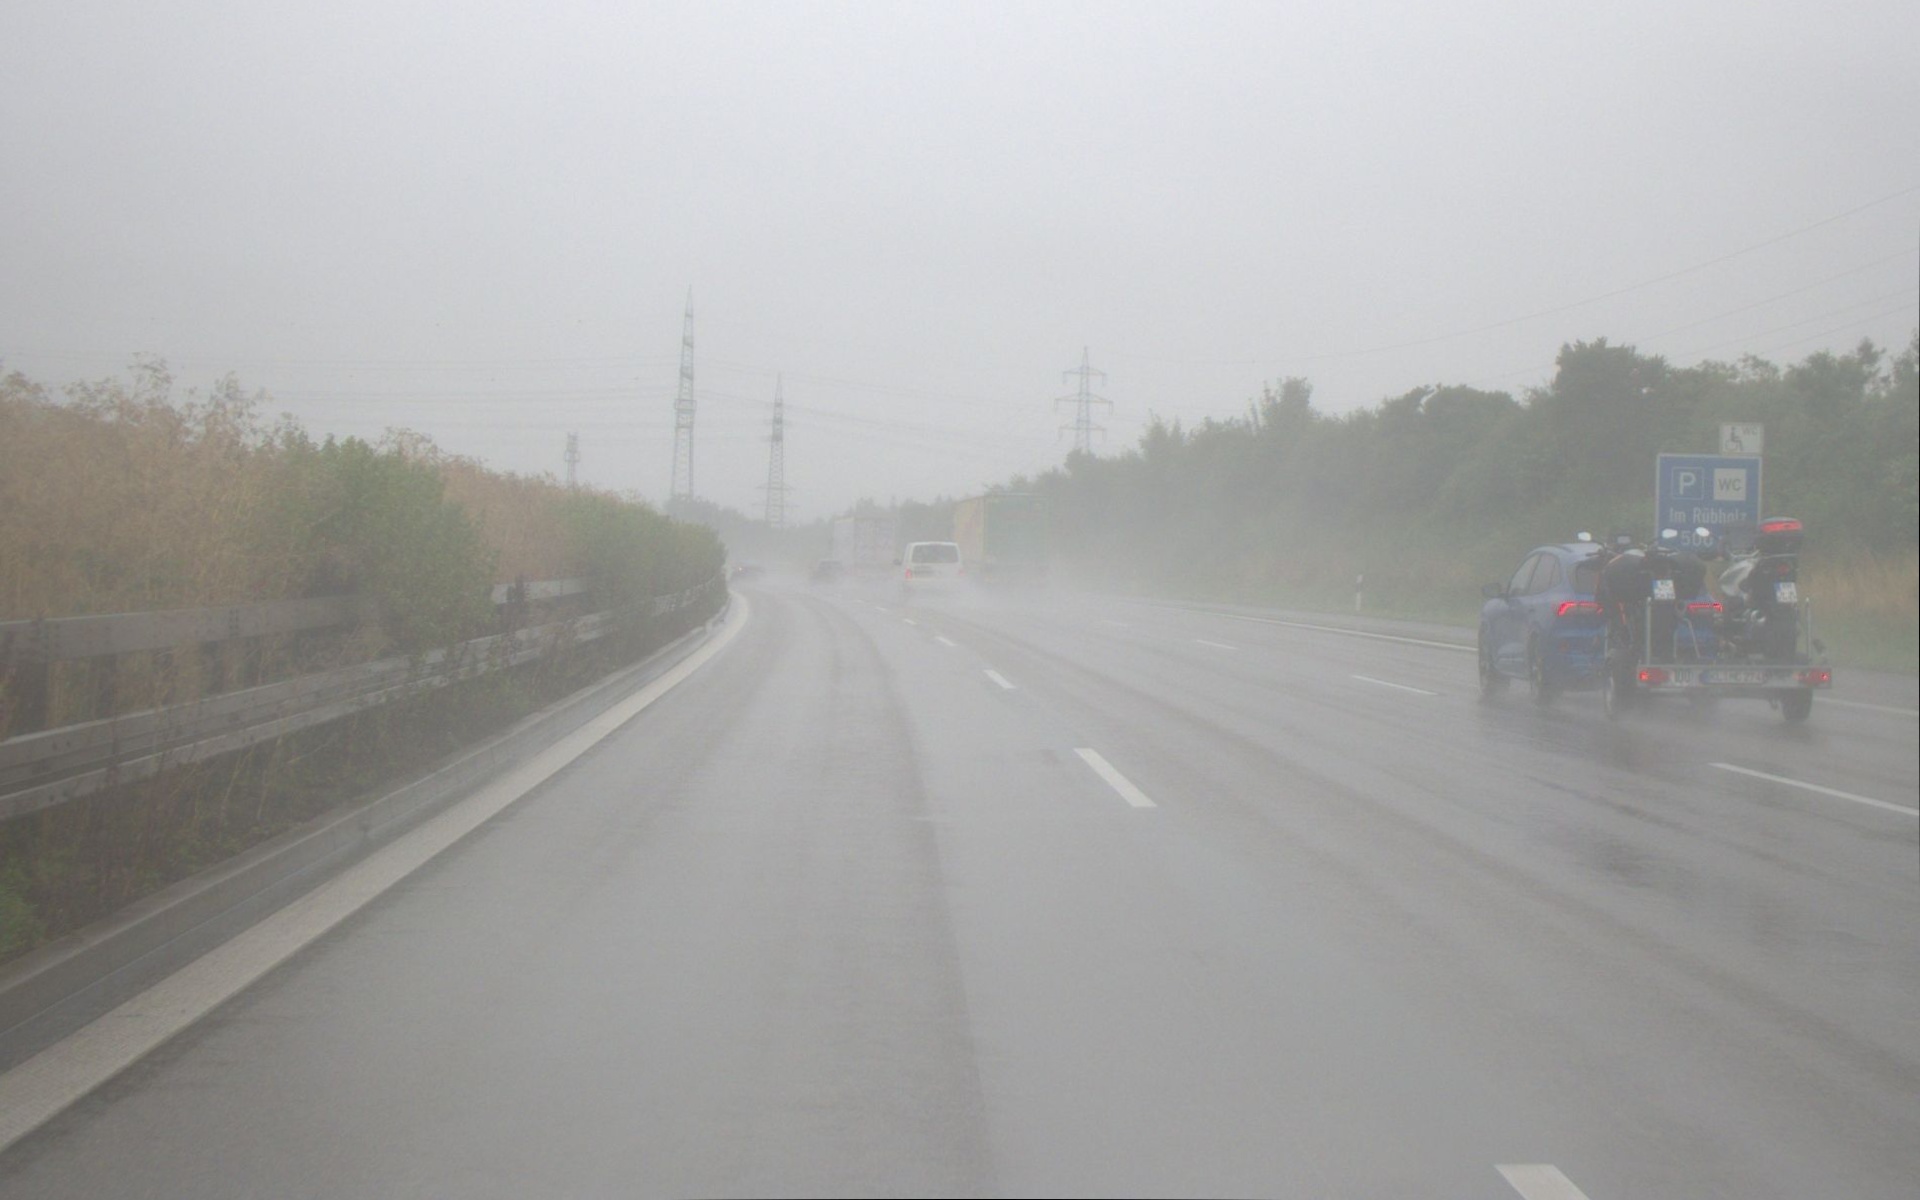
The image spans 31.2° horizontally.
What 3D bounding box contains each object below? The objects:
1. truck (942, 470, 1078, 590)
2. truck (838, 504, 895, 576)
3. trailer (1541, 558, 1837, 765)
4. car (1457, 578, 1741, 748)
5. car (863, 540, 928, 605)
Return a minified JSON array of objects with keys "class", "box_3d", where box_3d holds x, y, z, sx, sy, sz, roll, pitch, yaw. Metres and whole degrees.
[{"class":"truck","box_3d":[1.870,-2.730,140.473,4.188,4.614,16.107,0,0,-4]},{"class":"truck","box_3d":[-5.784,-3.671,211.424,3.232,4.297,8.838,0,1,-3]},{"class":"trailer","box_3d":[6.585,0.528,31.381,1.979,1.779,3.189,0,0,-1]},{"class":"car","box_3d":[6.490,0.598,35.477,1.993,1.613,4.992,0,0,0]},{"class":"car","box_3d":[-2.025,-0.884,108.293,1.993,2.007,4.000,0,1,-1]}]
